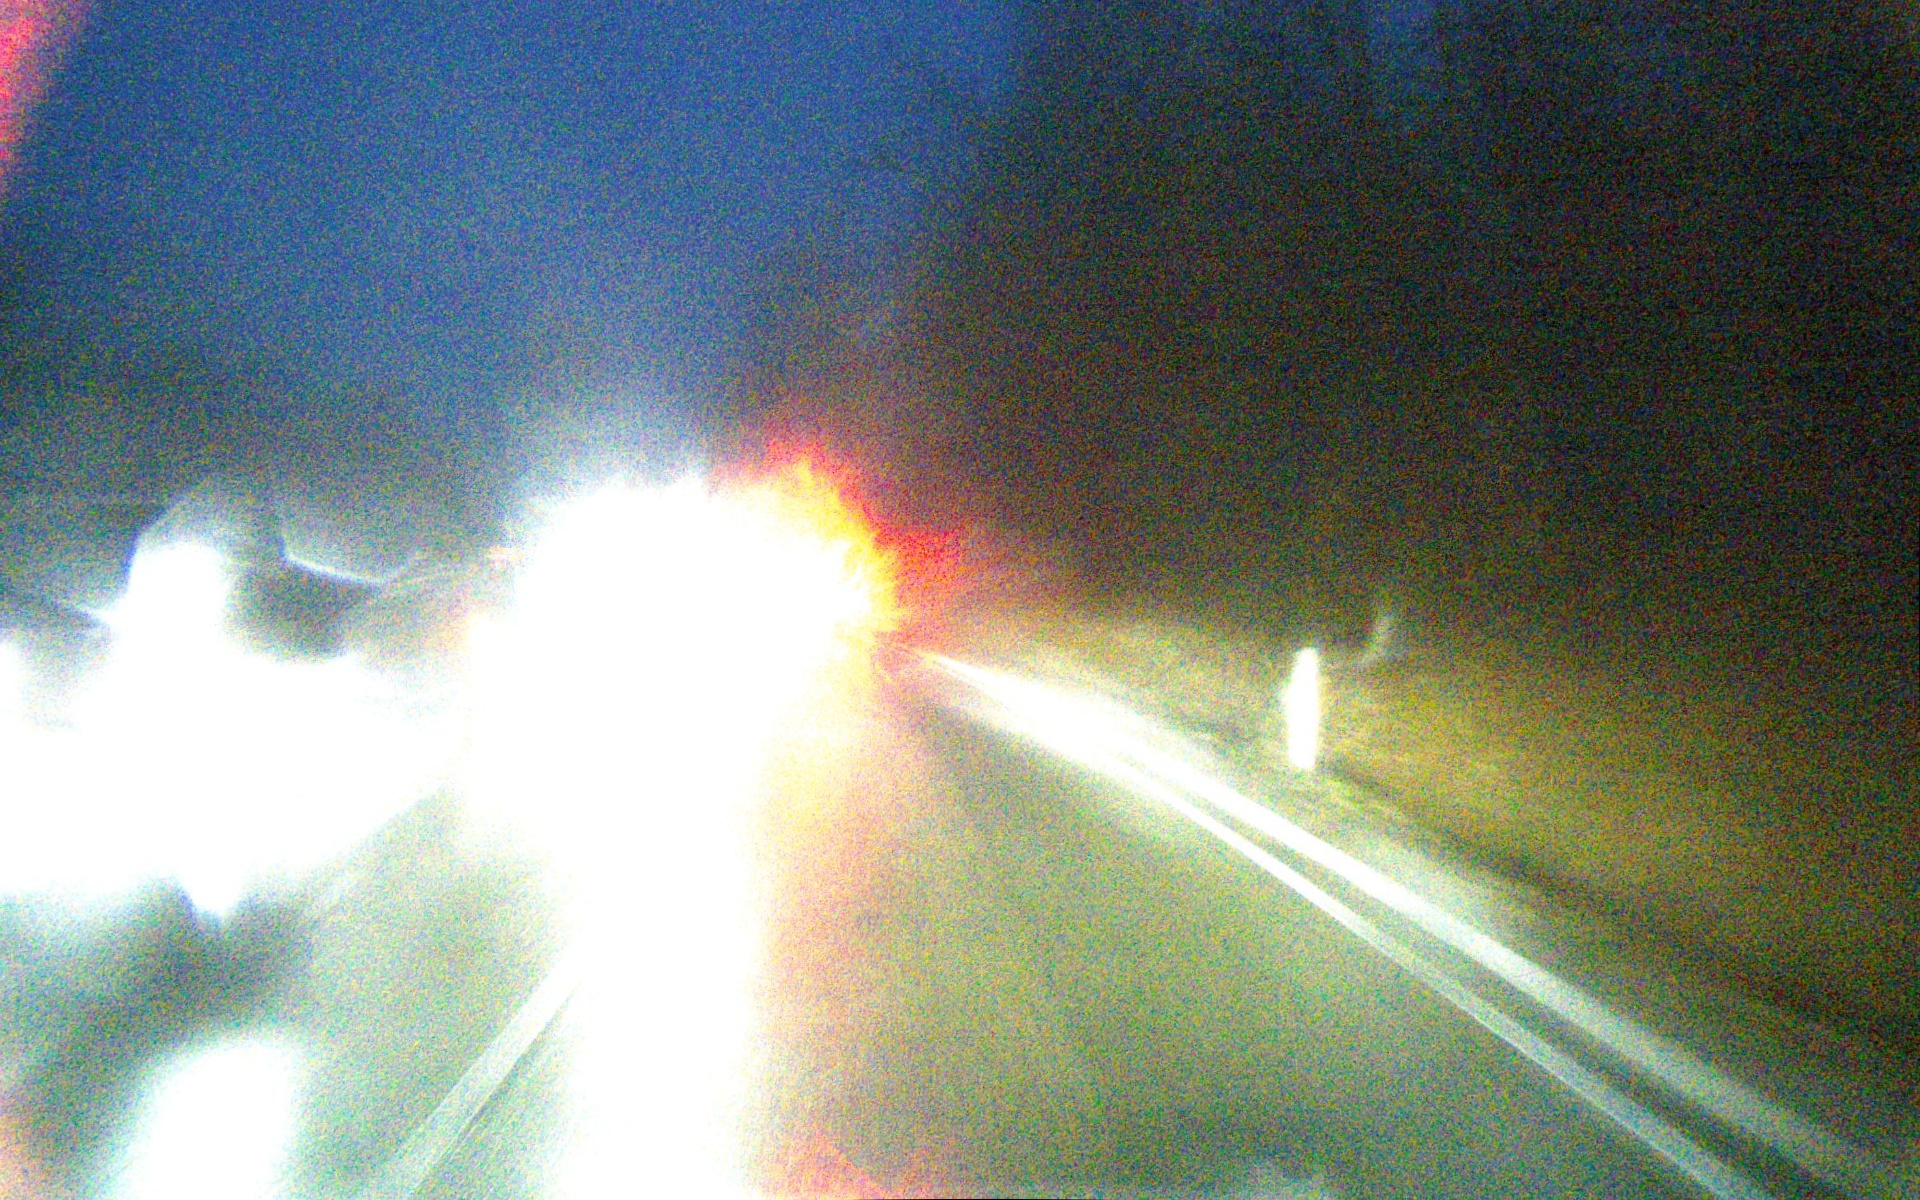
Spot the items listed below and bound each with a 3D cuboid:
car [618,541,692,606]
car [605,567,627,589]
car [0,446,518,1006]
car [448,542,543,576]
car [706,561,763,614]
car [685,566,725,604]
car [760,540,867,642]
[{"bbox_3d":[-7.671,-0.700,41.855,1.605,1.536,4.089,-1,2,-8],"label":"car"},{"bbox_3d":[-30.557,-1.968,146.840,1.724,1.764,3.986,3,2,-15],"label":"car"},{"bbox_3d":[-3.769,0.399,8.516,1.954,2.048,4.841,2,1,-5],"label":"car"},{"bbox_3d":[-24.774,-2.218,88.240,4.833,1.764,1.992,0,2,-16],"label":"car"},{"bbox_3d":[-9.359,-0.491,68.548,1.959,2.049,3.987,3,-1,-12],"label":"car"},{"bbox_3d":[-12.966,-0.733,83.887,1.710,1.743,3.688,3,-1,-12],"label":"car"},{"bbox_3d":[-4.033,-0.328,44.565,2.492,2.541,5.704,0,2,-9],"label":"car"}]
